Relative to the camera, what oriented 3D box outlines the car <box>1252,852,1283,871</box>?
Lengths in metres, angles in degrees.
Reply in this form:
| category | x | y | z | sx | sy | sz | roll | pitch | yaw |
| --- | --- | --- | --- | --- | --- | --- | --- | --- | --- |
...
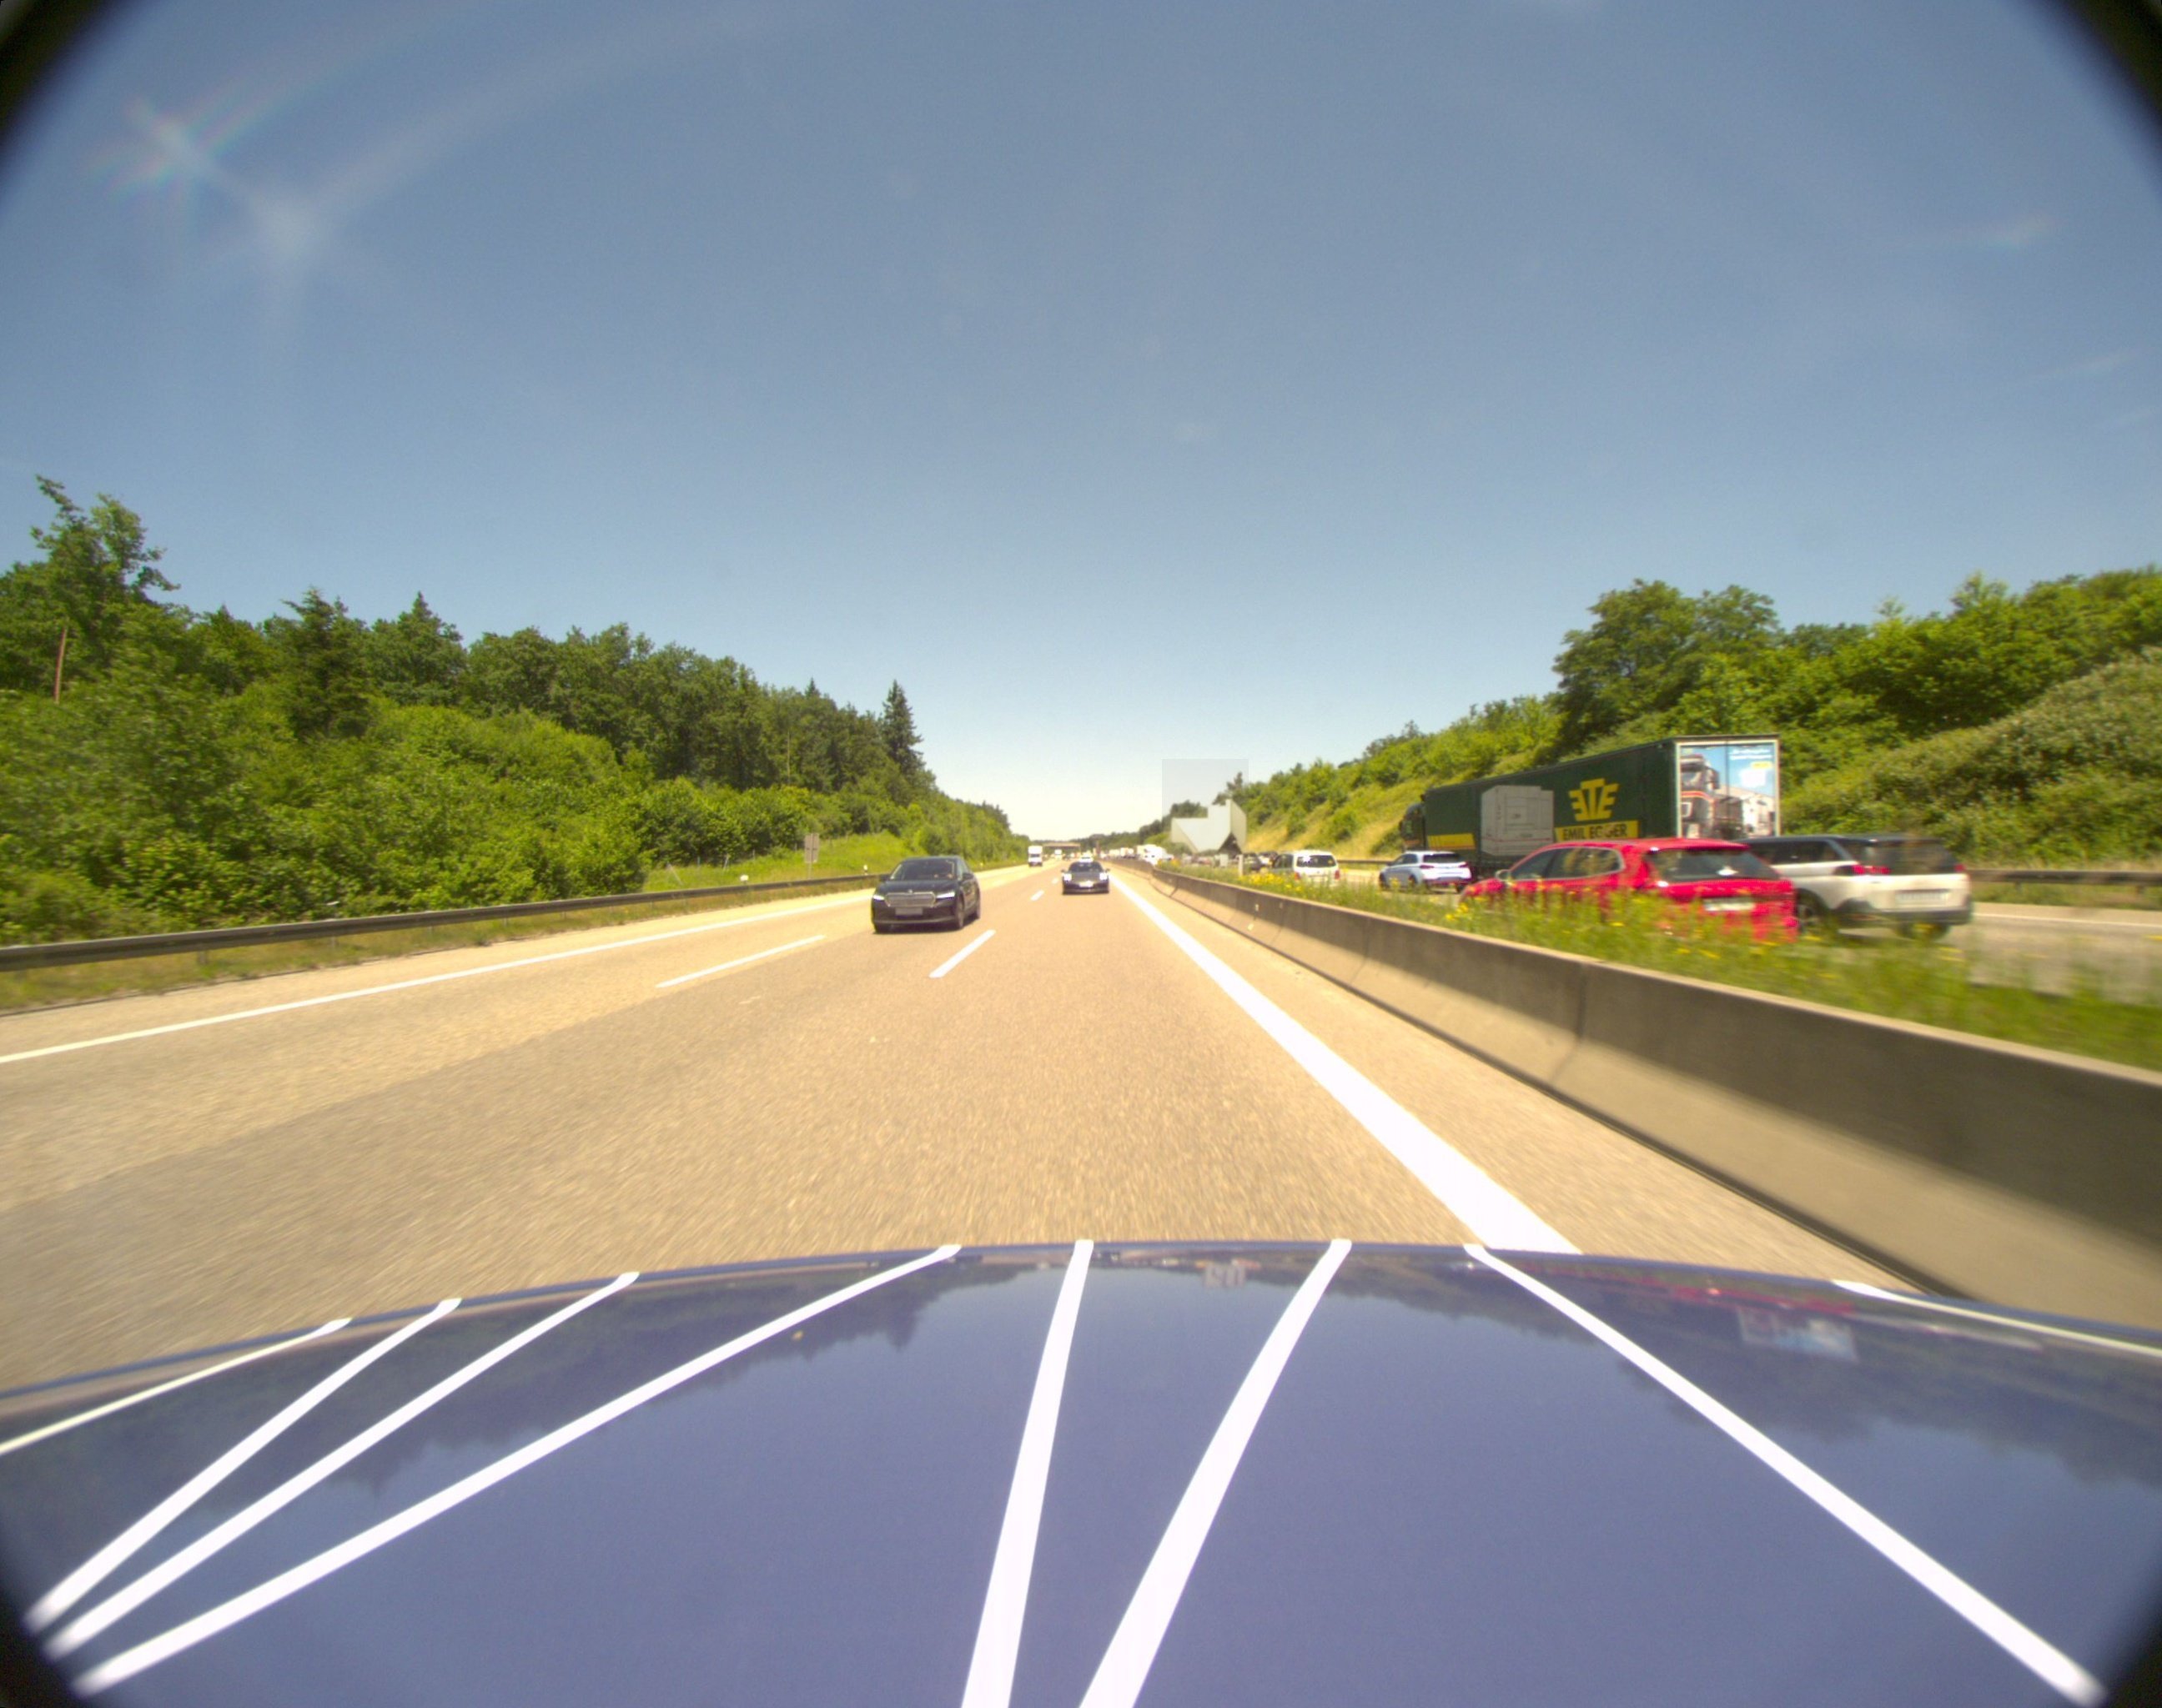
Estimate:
| category | x | y | z | sx | sy | sz | roll | pitch | yaw |
| --- | --- | --- | --- | --- | --- | --- | --- | --- | --- |
| car | 16.573 | 0.638 | 67.688 | 1.737 | 1.578 | 4.368 | -2 | 1 | 0 |

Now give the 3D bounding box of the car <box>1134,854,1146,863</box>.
| category | x | y | z | sx | sy | sz | roll | pitch | yaw |
| --- | --- | --- | --- | --- | --- | --- | --- | --- | --- |
| car | 12.033 | 0.983 | 154.164 | 2.002 | 1.718 | 4.758 | -2 | 1 | 0 |

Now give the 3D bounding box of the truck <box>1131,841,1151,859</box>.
| category | x | y | z | sx | sy | sz | roll | pitch | yaw |
| --- | --- | --- | --- | --- | --- | --- | --- | --- | --- |
| truck | 16.063 | -1.101 | 204.681 | 3.706 | 4.430 | 17.378 | -2 | 1 | 0 |

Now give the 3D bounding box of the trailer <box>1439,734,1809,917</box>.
| category | x | y | z | sx | sy | sz | roll | pitch | yaw |
| --- | --- | --- | --- | --- | --- | --- | --- | --- | --- |
| trailer | 15.828 | -0.720 | 24.331 | 2.850 | 4.237 | 12.785 | -2 | 1 | 1 |

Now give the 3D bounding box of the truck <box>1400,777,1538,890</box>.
| category | x | y | z | sx | sy | sz | roll | pitch | yaw |
| --- | --- | --- | --- | --- | --- | --- | --- | --- | --- |
| truck | 15.897 | -0.811 | 31.589 | 2.826 | 4.179 | 5.628 | -2 | 1 | 1 |

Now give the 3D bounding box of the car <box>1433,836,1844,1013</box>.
| category | x | y | z | sx | sy | sz | roll | pitch | yaw |
| --- | --- | --- | --- | --- | --- | --- | --- | --- | --- |
| car | 6.868 | 0.703 | 10.266 | 1.832 | 1.754 | 4.990 | -2 | 1 | -1 |

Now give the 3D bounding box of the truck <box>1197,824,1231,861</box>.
| category | x | y | z | sx | sy | sz | roll | pitch | yaw |
| --- | --- | --- | --- | --- | --- | --- | --- | --- | --- |
| truck | 16.987 | -1.410 | 97.779 | 2.949 | 4.489 | 8.605 | -2 | 1 | 2 |

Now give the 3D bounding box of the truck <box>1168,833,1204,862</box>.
| category | x | y | z | sx | sy | sz | roll | pitch | yaw |
| --- | --- | --- | --- | --- | --- | --- | --- | --- | --- |
| truck | 17.099 | -1.057 | 125.484 | 3.705 | 4.430 | 16.673 | -2 | 1 | 1 |

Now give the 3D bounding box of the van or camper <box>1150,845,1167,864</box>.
| category | x | y | z | sx | sy | sz | roll | pitch | yaw |
| --- | --- | --- | --- | --- | --- | --- | --- | --- | --- |
| van or camper | 12.682 | -0.012 | 124.779 | 2.202 | 2.922 | 7.534 | -2 | 1 | 2 |

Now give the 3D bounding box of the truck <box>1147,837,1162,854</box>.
| category | x | y | z | sx | sy | sz | roll | pitch | yaw |
| --- | --- | --- | --- | --- | --- | --- | --- | --- | --- |
| truck | 16.775 | -1.939 | 173.799 | 2.685 | 3.722 | 5.871 | -2 | 1 | 0 |

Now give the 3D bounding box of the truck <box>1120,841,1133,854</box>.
| category | x | y | z | sx | sy | sz | roll | pitch | yaw |
| --- | --- | --- | --- | --- | --- | --- | --- | --- | --- |
| truck | 15.962 | -2.265 | 267.860 | 3.706 | 4.430 | 17.378 | -2 | 1 | 0 |

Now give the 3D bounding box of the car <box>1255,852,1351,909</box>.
| category | x | y | z | sx | sy | sz | roll | pitch | yaw |
| --- | --- | --- | --- | --- | --- | --- | --- | --- | --- |
| car | 7.698 | 0.844 | 26.847 | 1.832 | 1.754 | 4.990 | -2 | 1 | -1 |

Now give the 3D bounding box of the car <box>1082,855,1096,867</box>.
| category | x | y | z | sx | sy | sz | roll | pitch | yaw |
| --- | --- | --- | --- | --- | --- | --- | --- | --- | --- |
| car | 0.996 | 0.864 | 98.583 | 1.719 | 1.432 | 4.456 | -1 | 1 | 0 |

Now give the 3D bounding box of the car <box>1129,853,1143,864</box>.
| category | x | y | z | sx | sy | sz | roll | pitch | yaw |
| --- | --- | --- | --- | --- | --- | --- | --- | --- | --- |
| car | 9.048 | 0.745 | 124.626 | 1.832 | 1.754 | 4.990 | -2 | 1 | -1 |

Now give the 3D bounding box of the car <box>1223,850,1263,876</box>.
| category | x | y | z | sx | sy | sz | roll | pitch | yaw |
| --- | --- | --- | --- | --- | --- | --- | --- | --- | --- |
| car | 11.953 | 0.603 | 56.367 | 1.832 | 1.754 | 4.990 | -2 | 1 | -1 |

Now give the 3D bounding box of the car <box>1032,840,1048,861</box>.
| category | x | y | z | sx | sy | sz | roll | pitch | yaw |
| --- | --- | --- | --- | --- | --- | --- | --- | --- | --- |
| car | -6.750 | -0.528 | 125.871 | 2.303 | 3.317 | 7.621 | -2 | 1 | -1 |

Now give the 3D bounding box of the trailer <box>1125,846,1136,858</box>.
| category | x | y | z | sx | sy | sz | roll | pitch | yaw |
| --- | --- | --- | --- | --- | --- | --- | --- | --- | --- |
| trailer | 15.815 | -0.565 | 241.538 | 2.584 | 3.274 | 11.697 | -1 | -1 | -1 |

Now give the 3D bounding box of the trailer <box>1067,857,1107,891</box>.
| category | x | y | z | sx | sy | sz | roll | pitch | yaw |
| --- | --- | --- | --- | --- | --- | --- | --- | --- | --- |
| trailer | 0.315 | 0.876 | 34.621 | 1.689 | 1.399 | 3.046 | -1 | 0 | 2 |

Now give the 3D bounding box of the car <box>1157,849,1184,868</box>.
| category | x | y | z | sx | sy | sz | roll | pitch | yaw |
| --- | --- | --- | --- | --- | --- | --- | --- | --- | --- |
| car | 8.125 | 0.362 | 69.479 | 1.832 | 1.556 | 5.110 | -2 | 1 | -1 |

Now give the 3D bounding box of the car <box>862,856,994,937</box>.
| category | x | y | z | sx | sy | sz | roll | pitch | yaw |
| --- | --- | --- | --- | --- | --- | --- | --- | --- | --- |
| car | -3.392 | 0.888 | 17.775 | 1.989 | 1.609 | 4.458 | -1 | 0 | 2 |

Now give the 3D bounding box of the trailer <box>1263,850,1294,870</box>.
| category | x | y | z | sx | sy | sz | roll | pitch | yaw |
| --- | --- | --- | --- | --- | --- | --- | --- | --- | --- |
| trailer | 16.553 | 0.498 | 63.857 | 1.698 | 1.578 | 3.222 | -2 | 1 | 0 |

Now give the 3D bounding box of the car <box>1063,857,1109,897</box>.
| category | x | y | z | sx | sy | sz | roll | pitch | yaw |
| --- | --- | --- | --- | --- | --- | --- | --- | --- | --- |
| car | 0.257 | 0.889 | 31.324 | 1.718 | 1.432 | 4.457 | -1 | 1 | 2 |

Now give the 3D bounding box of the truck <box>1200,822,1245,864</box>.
| category | x | y | z | sx | sy | sz | roll | pitch | yaw |
| --- | --- | --- | --- | --- | --- | --- | --- | --- | --- |
| truck | 16.783 | -1.286 | 90.992 | 3.002 | 4.517 | 13.924 | -2 | 1 | 1 |

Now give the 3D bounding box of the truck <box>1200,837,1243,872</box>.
| category | x | y | z | sx | sy | sz | roll | pitch | yaw |
| --- | --- | --- | --- | --- | --- | --- | --- | --- | --- |
| truck | 12.438 | 0.020 | 67.864 | 2.575 | 2.828 | 6.752 | -2 | 1 | 0 |

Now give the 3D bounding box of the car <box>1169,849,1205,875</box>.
| category | x | y | z | sx | sy | sz | roll | pitch | yaw |
| --- | --- | --- | --- | --- | --- | --- | --- | --- | --- |
| car | 7.845 | 0.568 | 56.689 | 1.832 | 1.754 | 4.990 | -2 | 1 | -1 |

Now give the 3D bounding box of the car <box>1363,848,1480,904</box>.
| category | x | y | z | sx | sy | sz | roll | pitch | yaw |
| --- | --- | --- | --- | --- | --- | --- | --- | --- | --- |
| car | 11.834 | 0.677 | 26.818 | 1.832 | 1.754 | 4.990 | -2 | 1 | -1 |

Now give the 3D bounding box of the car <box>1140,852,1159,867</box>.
| category | x | y | z | sx | sy | sz | roll | pitch | yaw |
| --- | --- | --- | --- | --- | --- | --- | --- | --- | --- |
| car | 8.380 | 0.654 | 93.390 | 1.832 | 1.754 | 4.990 | -2 | 1 | -1 |

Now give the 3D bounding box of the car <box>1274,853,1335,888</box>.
| category | x | y | z | sx | sy | sz | roll | pitch | yaw |
| --- | --- | --- | --- | --- | --- | --- | --- | --- | --- |
| car | 12.217 | 0.845 | 41.897 | 1.832 | 1.754 | 4.990 | -2 | 1 | -1 |

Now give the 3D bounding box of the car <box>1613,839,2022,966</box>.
| category | x | y | z | sx | sy | sz | roll | pitch | yaw |
| --- | --- | --- | --- | --- | --- | --- | --- | --- | --- |
| car | 11.535 | 0.621 | 12.627 | 1.816 | 1.619 | 5.219 | -2 | 1 | 1 |

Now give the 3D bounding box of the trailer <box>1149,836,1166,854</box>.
| category | x | y | z | sx | sy | sz | roll | pitch | yaw |
| --- | --- | --- | --- | --- | --- | --- | --- | --- | --- |
| trailer | 16.759 | -1.873 | 167.635 | 2.617 | 3.711 | 10.681 | -2 | 0 | 0 |

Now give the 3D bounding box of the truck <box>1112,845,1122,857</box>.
| category | x | y | z | sx | sy | sz | roll | pitch | yaw |
| --- | --- | --- | --- | --- | --- | --- | --- | --- | --- |
| truck | 8.916 | -0.730 | 186.951 | 2.273 | 2.999 | 6.777 | -2 | 1 | 2 |
